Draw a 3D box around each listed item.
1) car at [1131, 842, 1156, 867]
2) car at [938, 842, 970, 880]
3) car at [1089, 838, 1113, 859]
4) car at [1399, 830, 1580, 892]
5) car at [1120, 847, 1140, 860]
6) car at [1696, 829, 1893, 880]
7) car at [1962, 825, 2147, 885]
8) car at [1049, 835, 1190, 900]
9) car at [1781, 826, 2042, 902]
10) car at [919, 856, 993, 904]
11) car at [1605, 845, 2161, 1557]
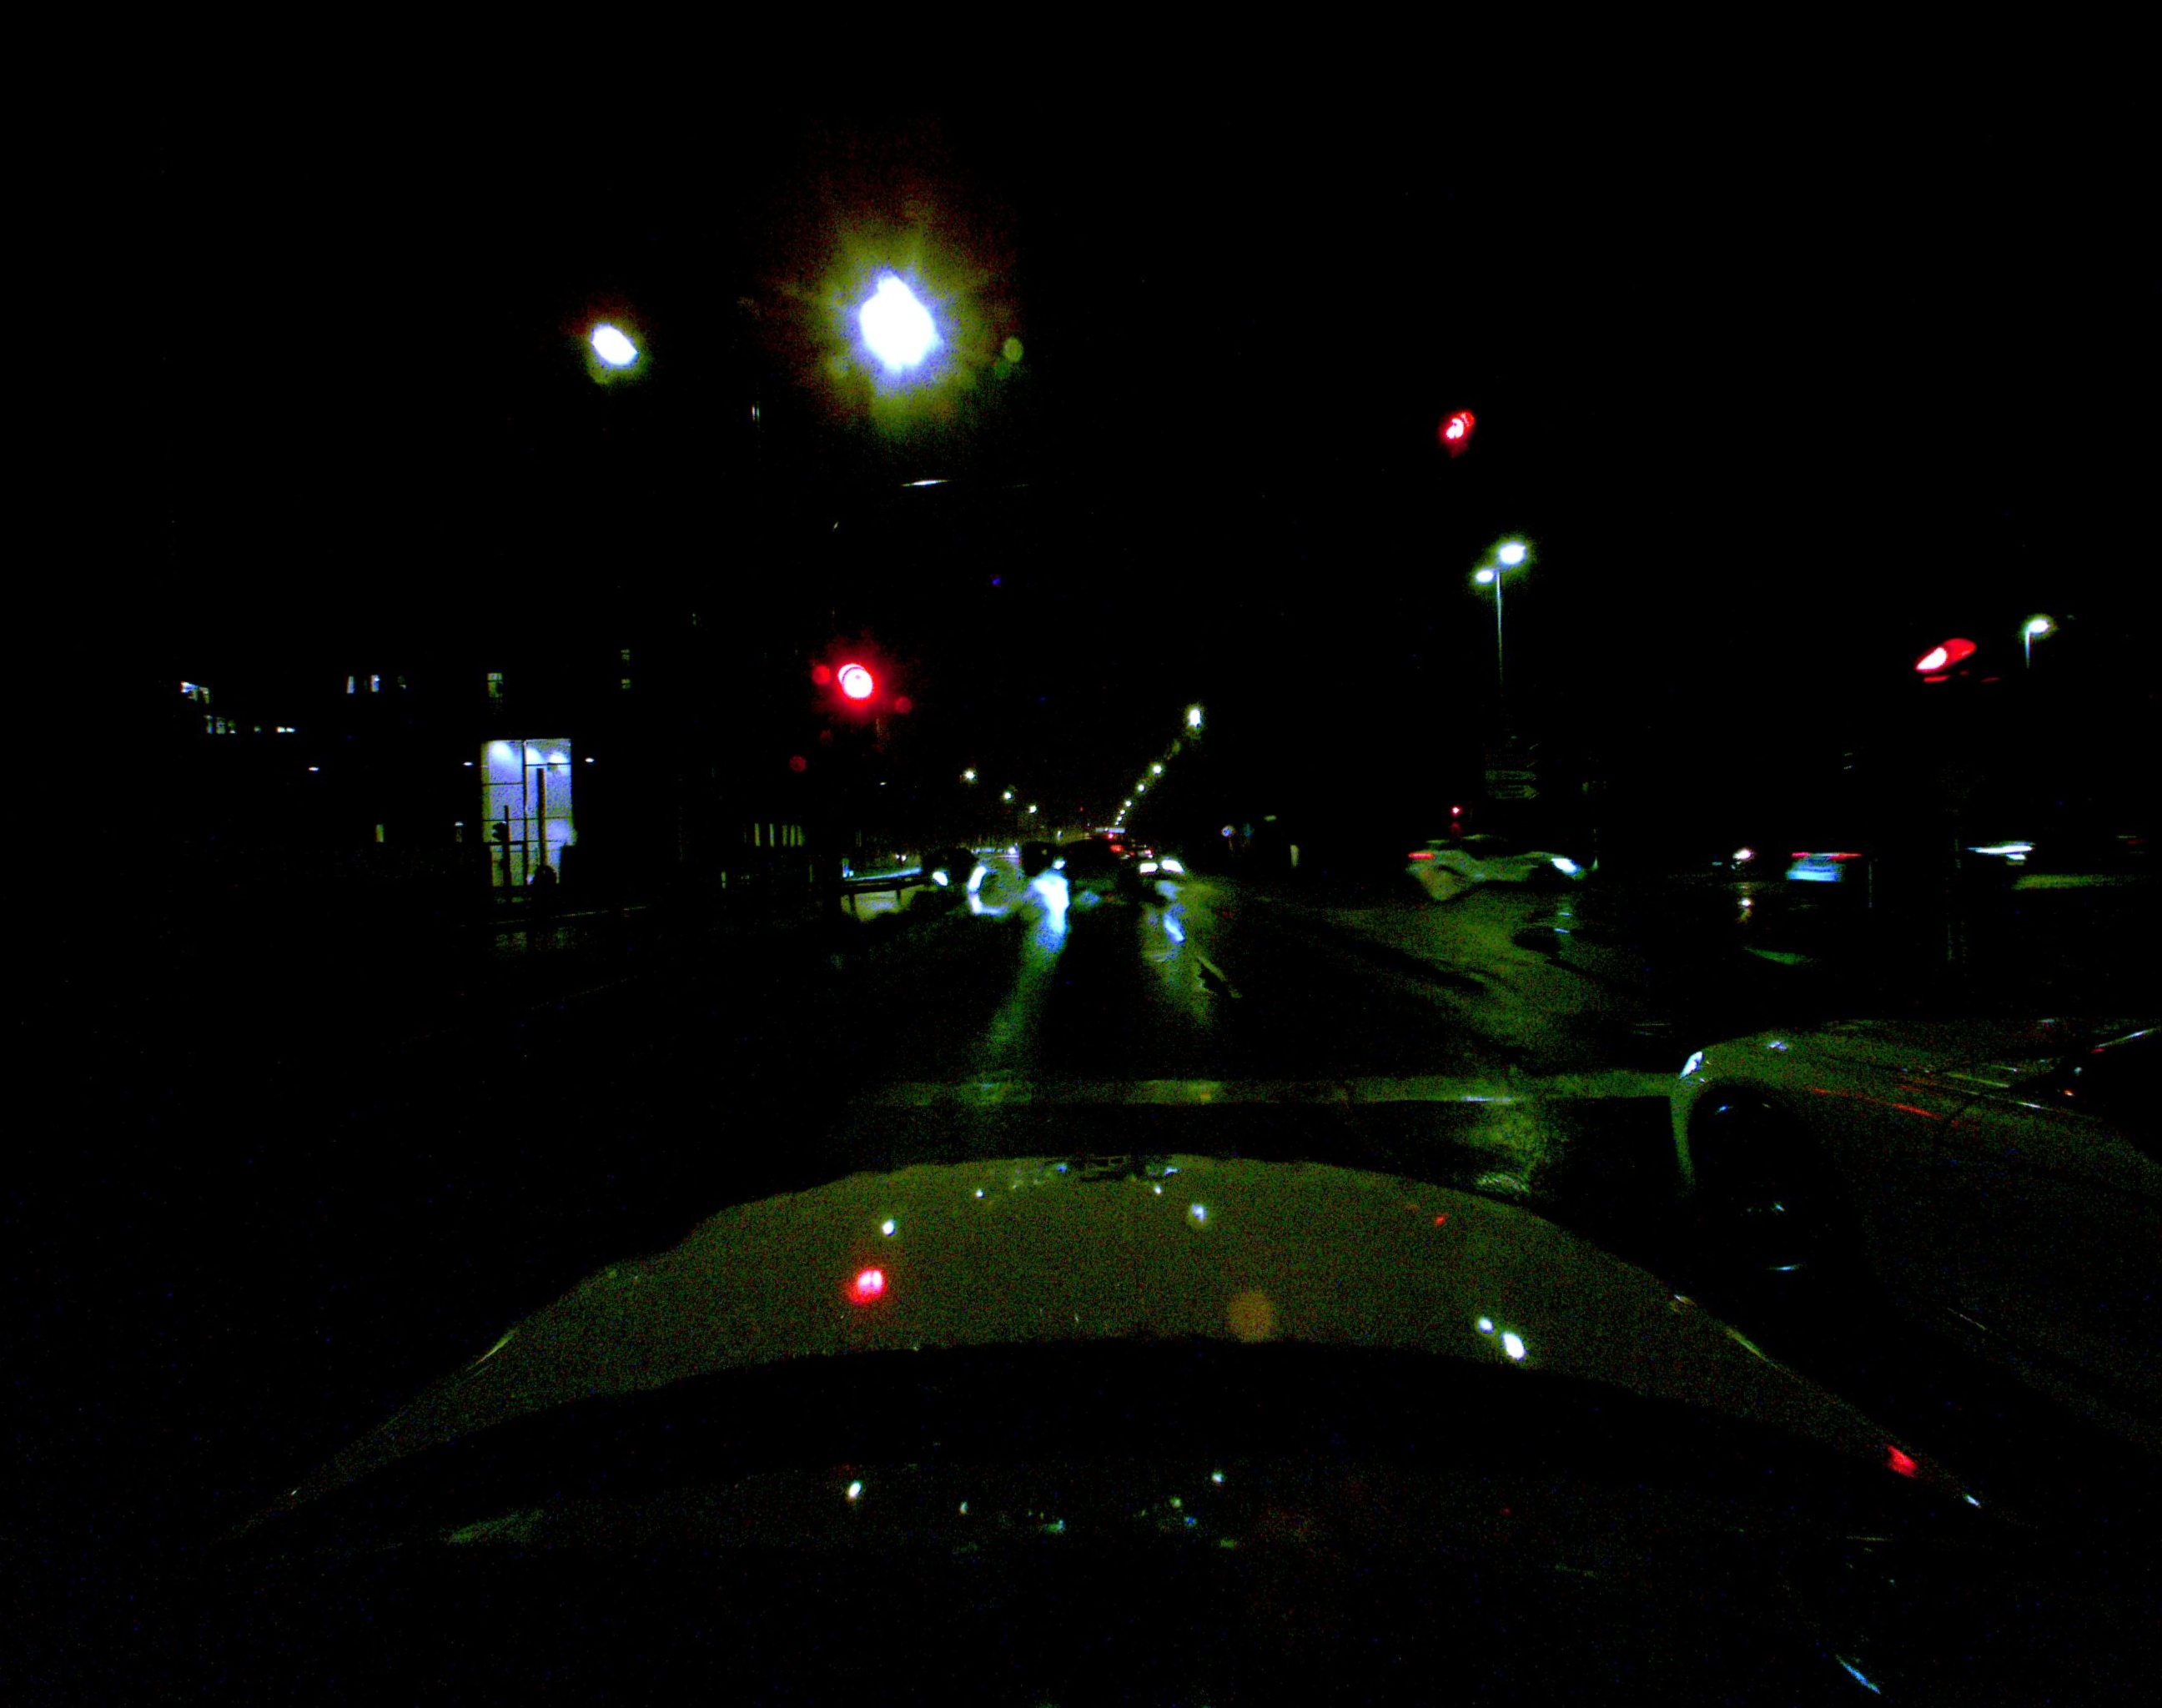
[{"bbox_3d":[5.198,0.060,67.892,2.029,2.014,4.311,-1,-1,4],"label":"car"},{"bbox_3d":[-7.188,0.398,46.164,1.698,2.014,3.556,-1,-1,-9],"label":"car"},{"bbox_3d":[2.168,-0.609,89.364,2.434,2.194,5.076,-1,-1,-1],"label":"car"},{"bbox_3d":[11.732,0.222,23.725,4.415,1.671,1.848,-1,-1,15],"label":"car"},{"bbox_3d":[5.825,-0.068,97.896,2.085,1.545,4.305,-1,-1,-1],"label":"car"},{"bbox_3d":[24.251,0.030,27.844,4.823,1.590,1.857,-1,-1,8],"label":"car"},{"bbox_3d":[34.980,0.064,29.380,3.965,2.014,2.004,-1,-1,7],"label":"car"},{"bbox_3d":[1.067,0.389,23.421,3.716,1.734,1.734,-2,-1,38],"label":"car"},{"bbox_3d":[19.610,0.232,19.370,4.401,1.649,1.836,-1,-1,-1],"label":"car"},{"bbox_3d":[-4.918,0.971,31.451,1.959,1.672,4.386,-1,-1,-20],"label":"car"},{"bbox_3d":[3.105,0.721,1.289,1.714,1.446,4.383,-3,0,1],"label":"car"}]
